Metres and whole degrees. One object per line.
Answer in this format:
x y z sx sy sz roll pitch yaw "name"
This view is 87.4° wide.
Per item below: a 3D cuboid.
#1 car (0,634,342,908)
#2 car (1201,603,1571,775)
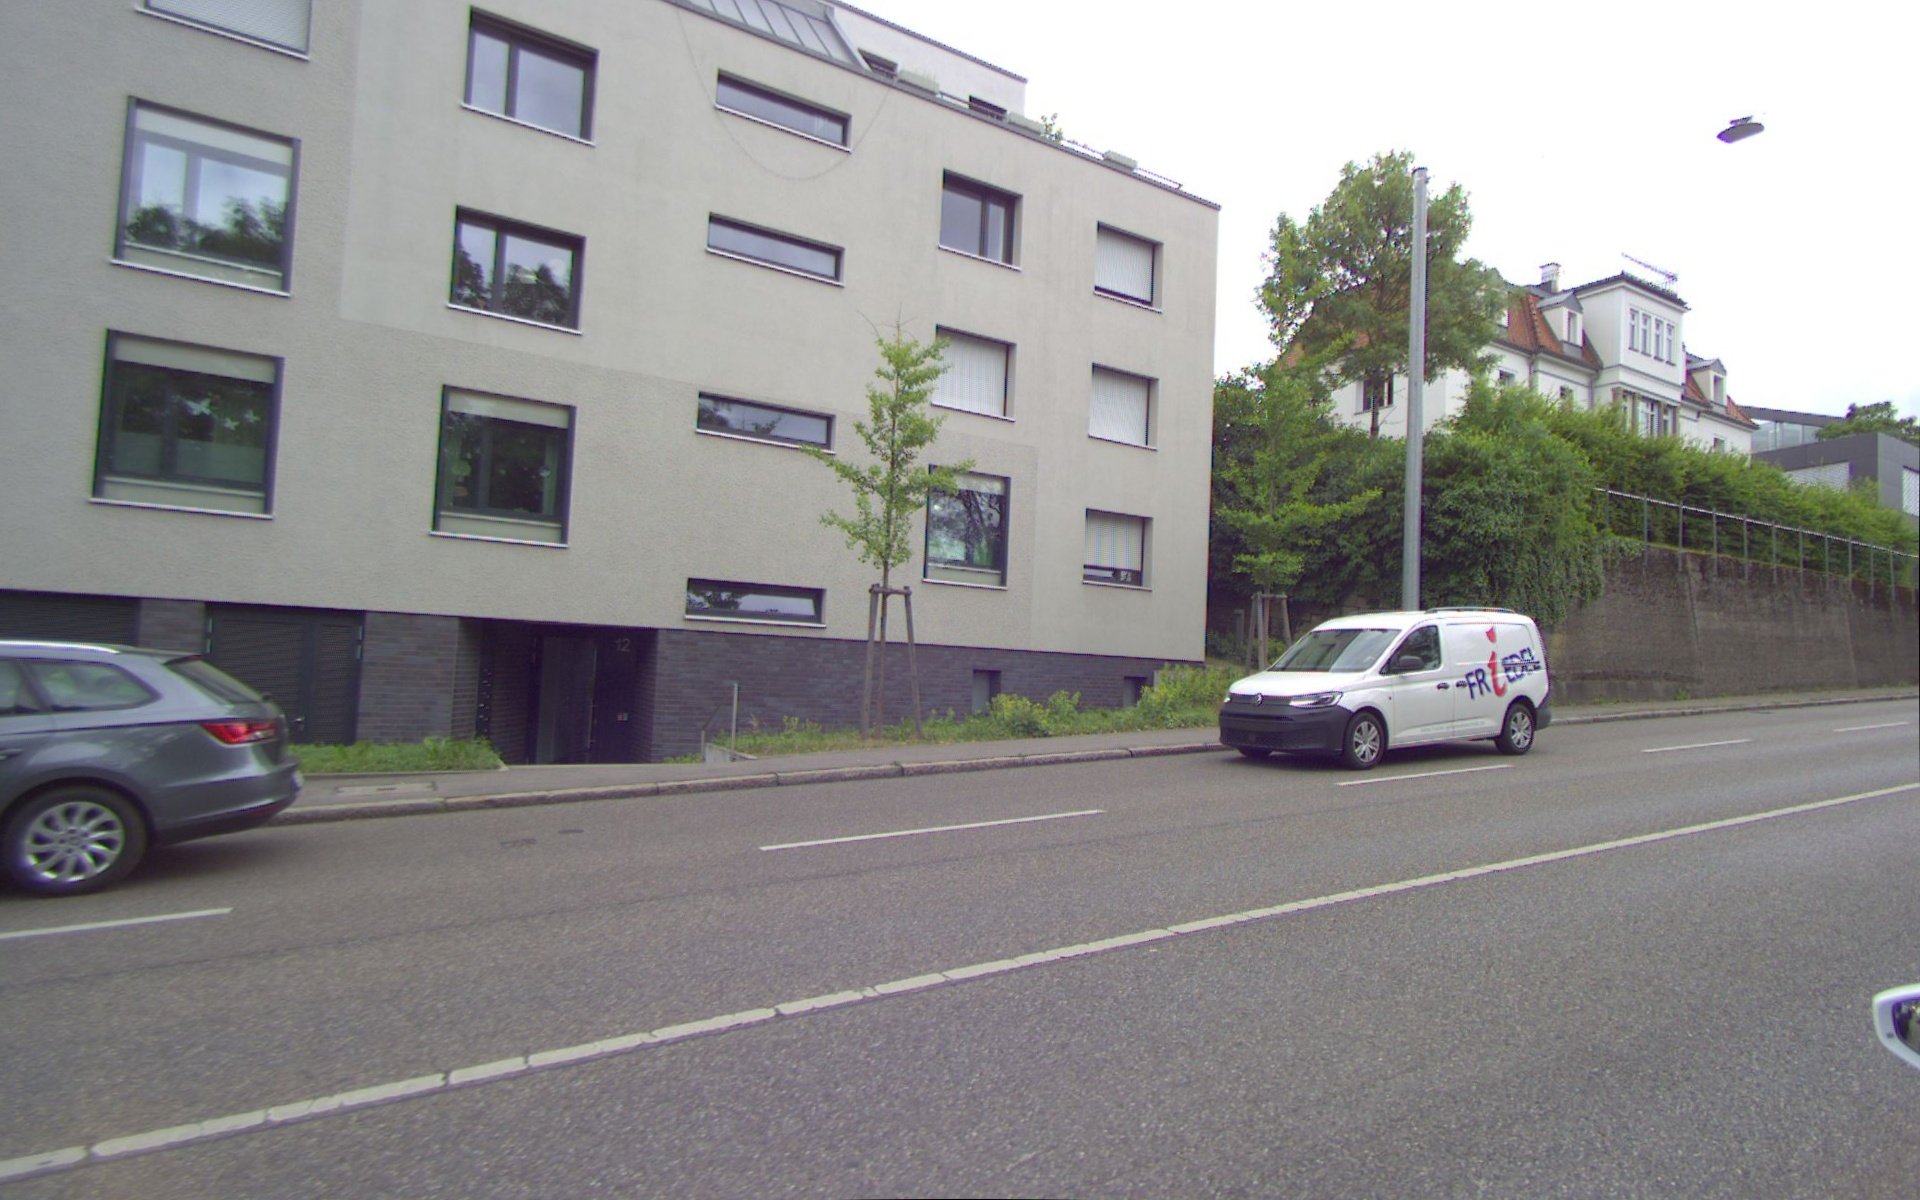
-6.218 0.954 5.856 4.372 1.483 1.725 1 -3 -31 "car"
5.405 1.019 12.557 4.810 1.812 1.725 1 -3 -31 "car"
